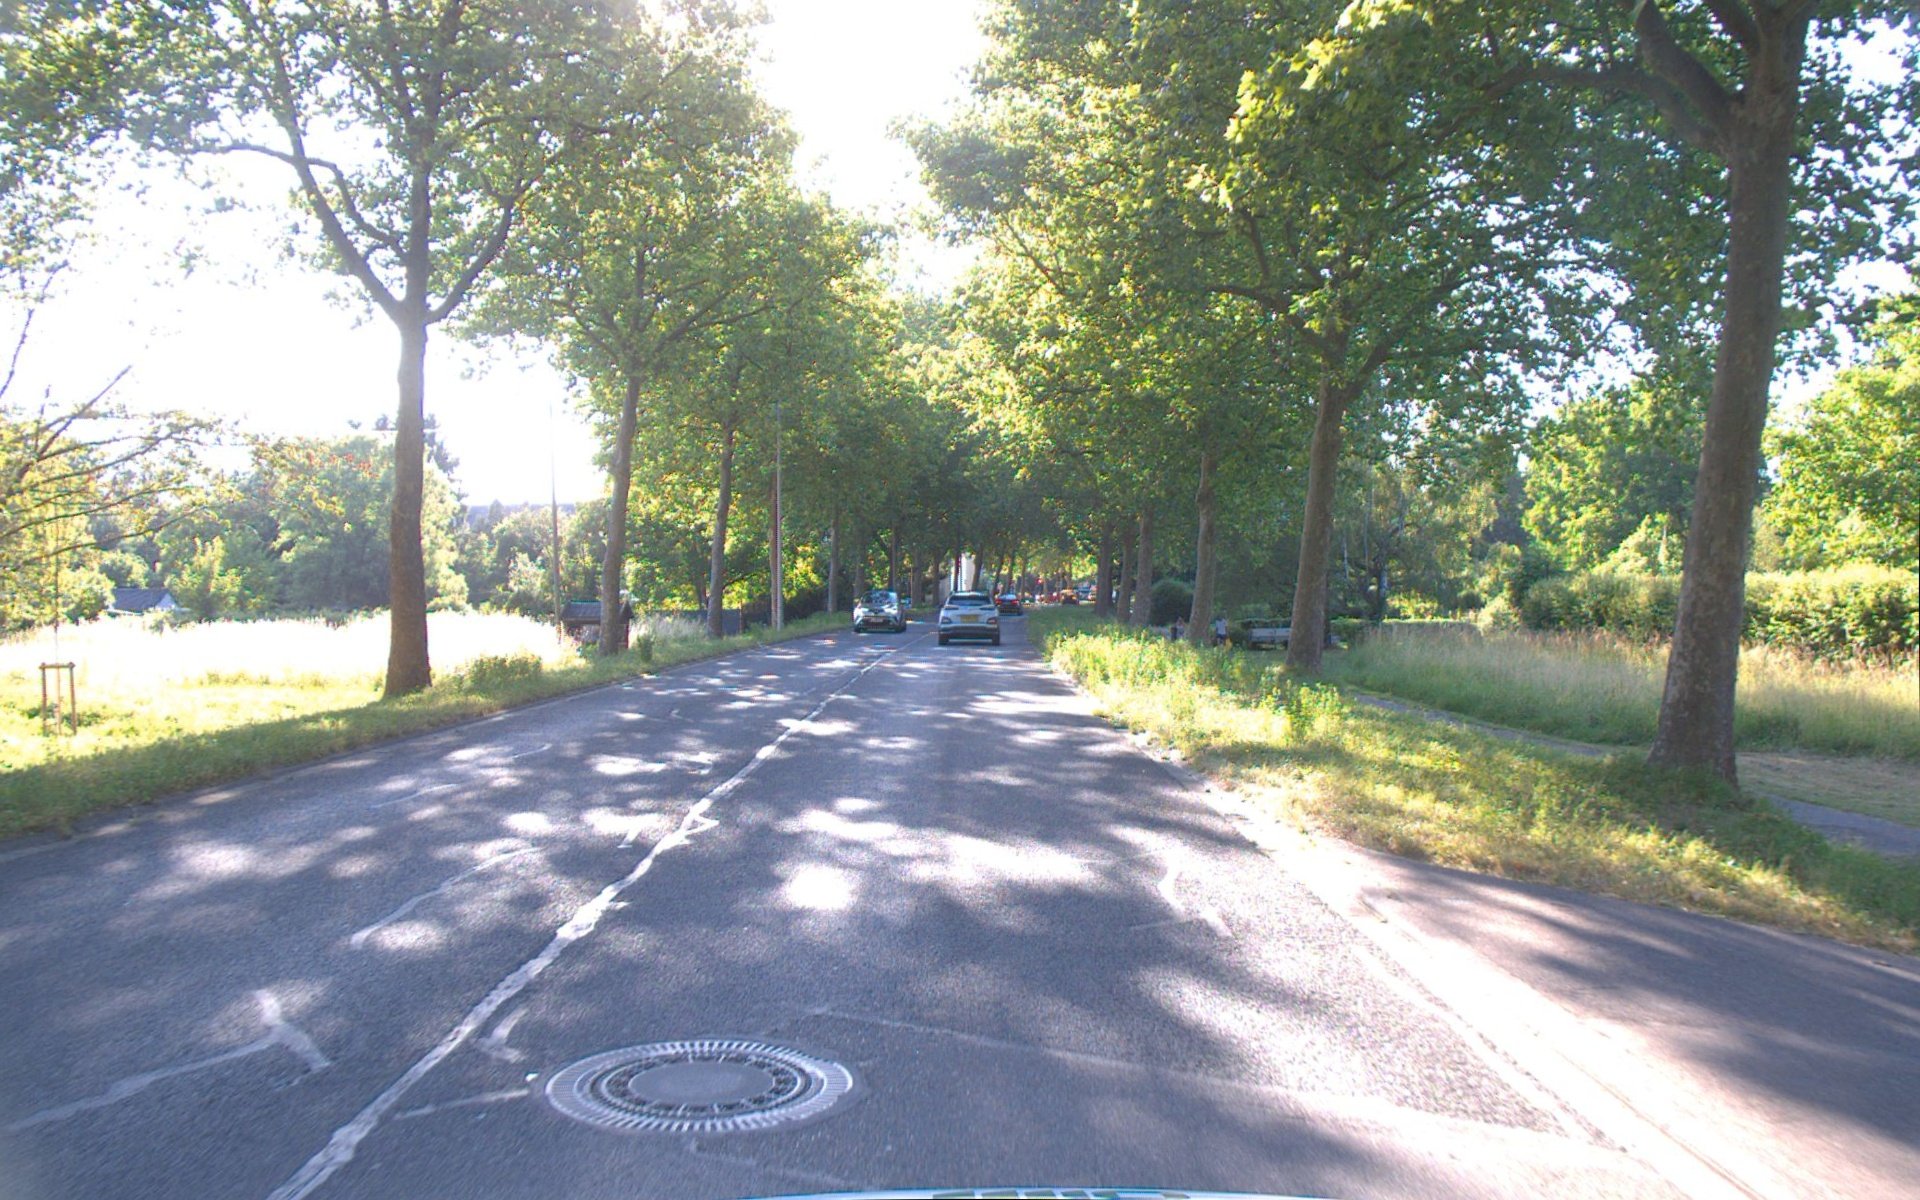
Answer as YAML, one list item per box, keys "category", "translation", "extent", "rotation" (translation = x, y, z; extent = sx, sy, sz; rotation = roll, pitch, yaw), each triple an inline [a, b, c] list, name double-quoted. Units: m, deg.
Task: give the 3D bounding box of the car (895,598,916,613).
- category: "car"
  translation: [-5.187, 0.489, 157.947]
  extent: [1.715, 1.327, 4.002]
  rotation: [-1, 1, 3]

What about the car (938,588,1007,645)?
- category: "car"
  translation: [0.383, 0.482, 49.135]
  extent: [1.952, 1.602, 4.000]
  rotation: [1, 0, 1]

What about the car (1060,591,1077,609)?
- category: "car"
  translation: [12.631, 0.003, 192.273]
  extent: [1.951, 2.049, 4.002]
  rotation: [1, 0, 4]

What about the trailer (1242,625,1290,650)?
- category: "trailer"
  translation: [13.990, 1.715, 75.620]
  extent: [2.072, 1.071, 1.201]
  rotation: [1, 0, 7]

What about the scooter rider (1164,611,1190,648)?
- category: "scooter rider"
  translation: [9.503, 1.304, 72.549]
  extent: [0.837, 1.604, 0.773]
  rotation: [1, -1, -41]

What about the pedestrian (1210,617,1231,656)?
- category: "pedestrian"
  translation: [10.990, 1.529, 69.850]
  extent: [0.824, 1.604, 1.208]
  rotation: [1, -1, 10]

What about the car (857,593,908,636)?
- category: "car"
  translation: [-2.894, 0.539, 62.428]
  extent: [1.680, 1.531, 4.000]
  rotation: [1, 0, 1]

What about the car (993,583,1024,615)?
- category: "car"
  translation: [3.198, -0.040, 108.844]
  extent: [1.952, 2.049, 4.001]
  rotation: [1, 0, 2]

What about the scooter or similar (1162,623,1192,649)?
- category: "scooter or similar"
  translation: [9.498, 1.574, 72.442]
  extent: [1.586, 1.155, 0.335]
  rotation: [1, -1, -43]
